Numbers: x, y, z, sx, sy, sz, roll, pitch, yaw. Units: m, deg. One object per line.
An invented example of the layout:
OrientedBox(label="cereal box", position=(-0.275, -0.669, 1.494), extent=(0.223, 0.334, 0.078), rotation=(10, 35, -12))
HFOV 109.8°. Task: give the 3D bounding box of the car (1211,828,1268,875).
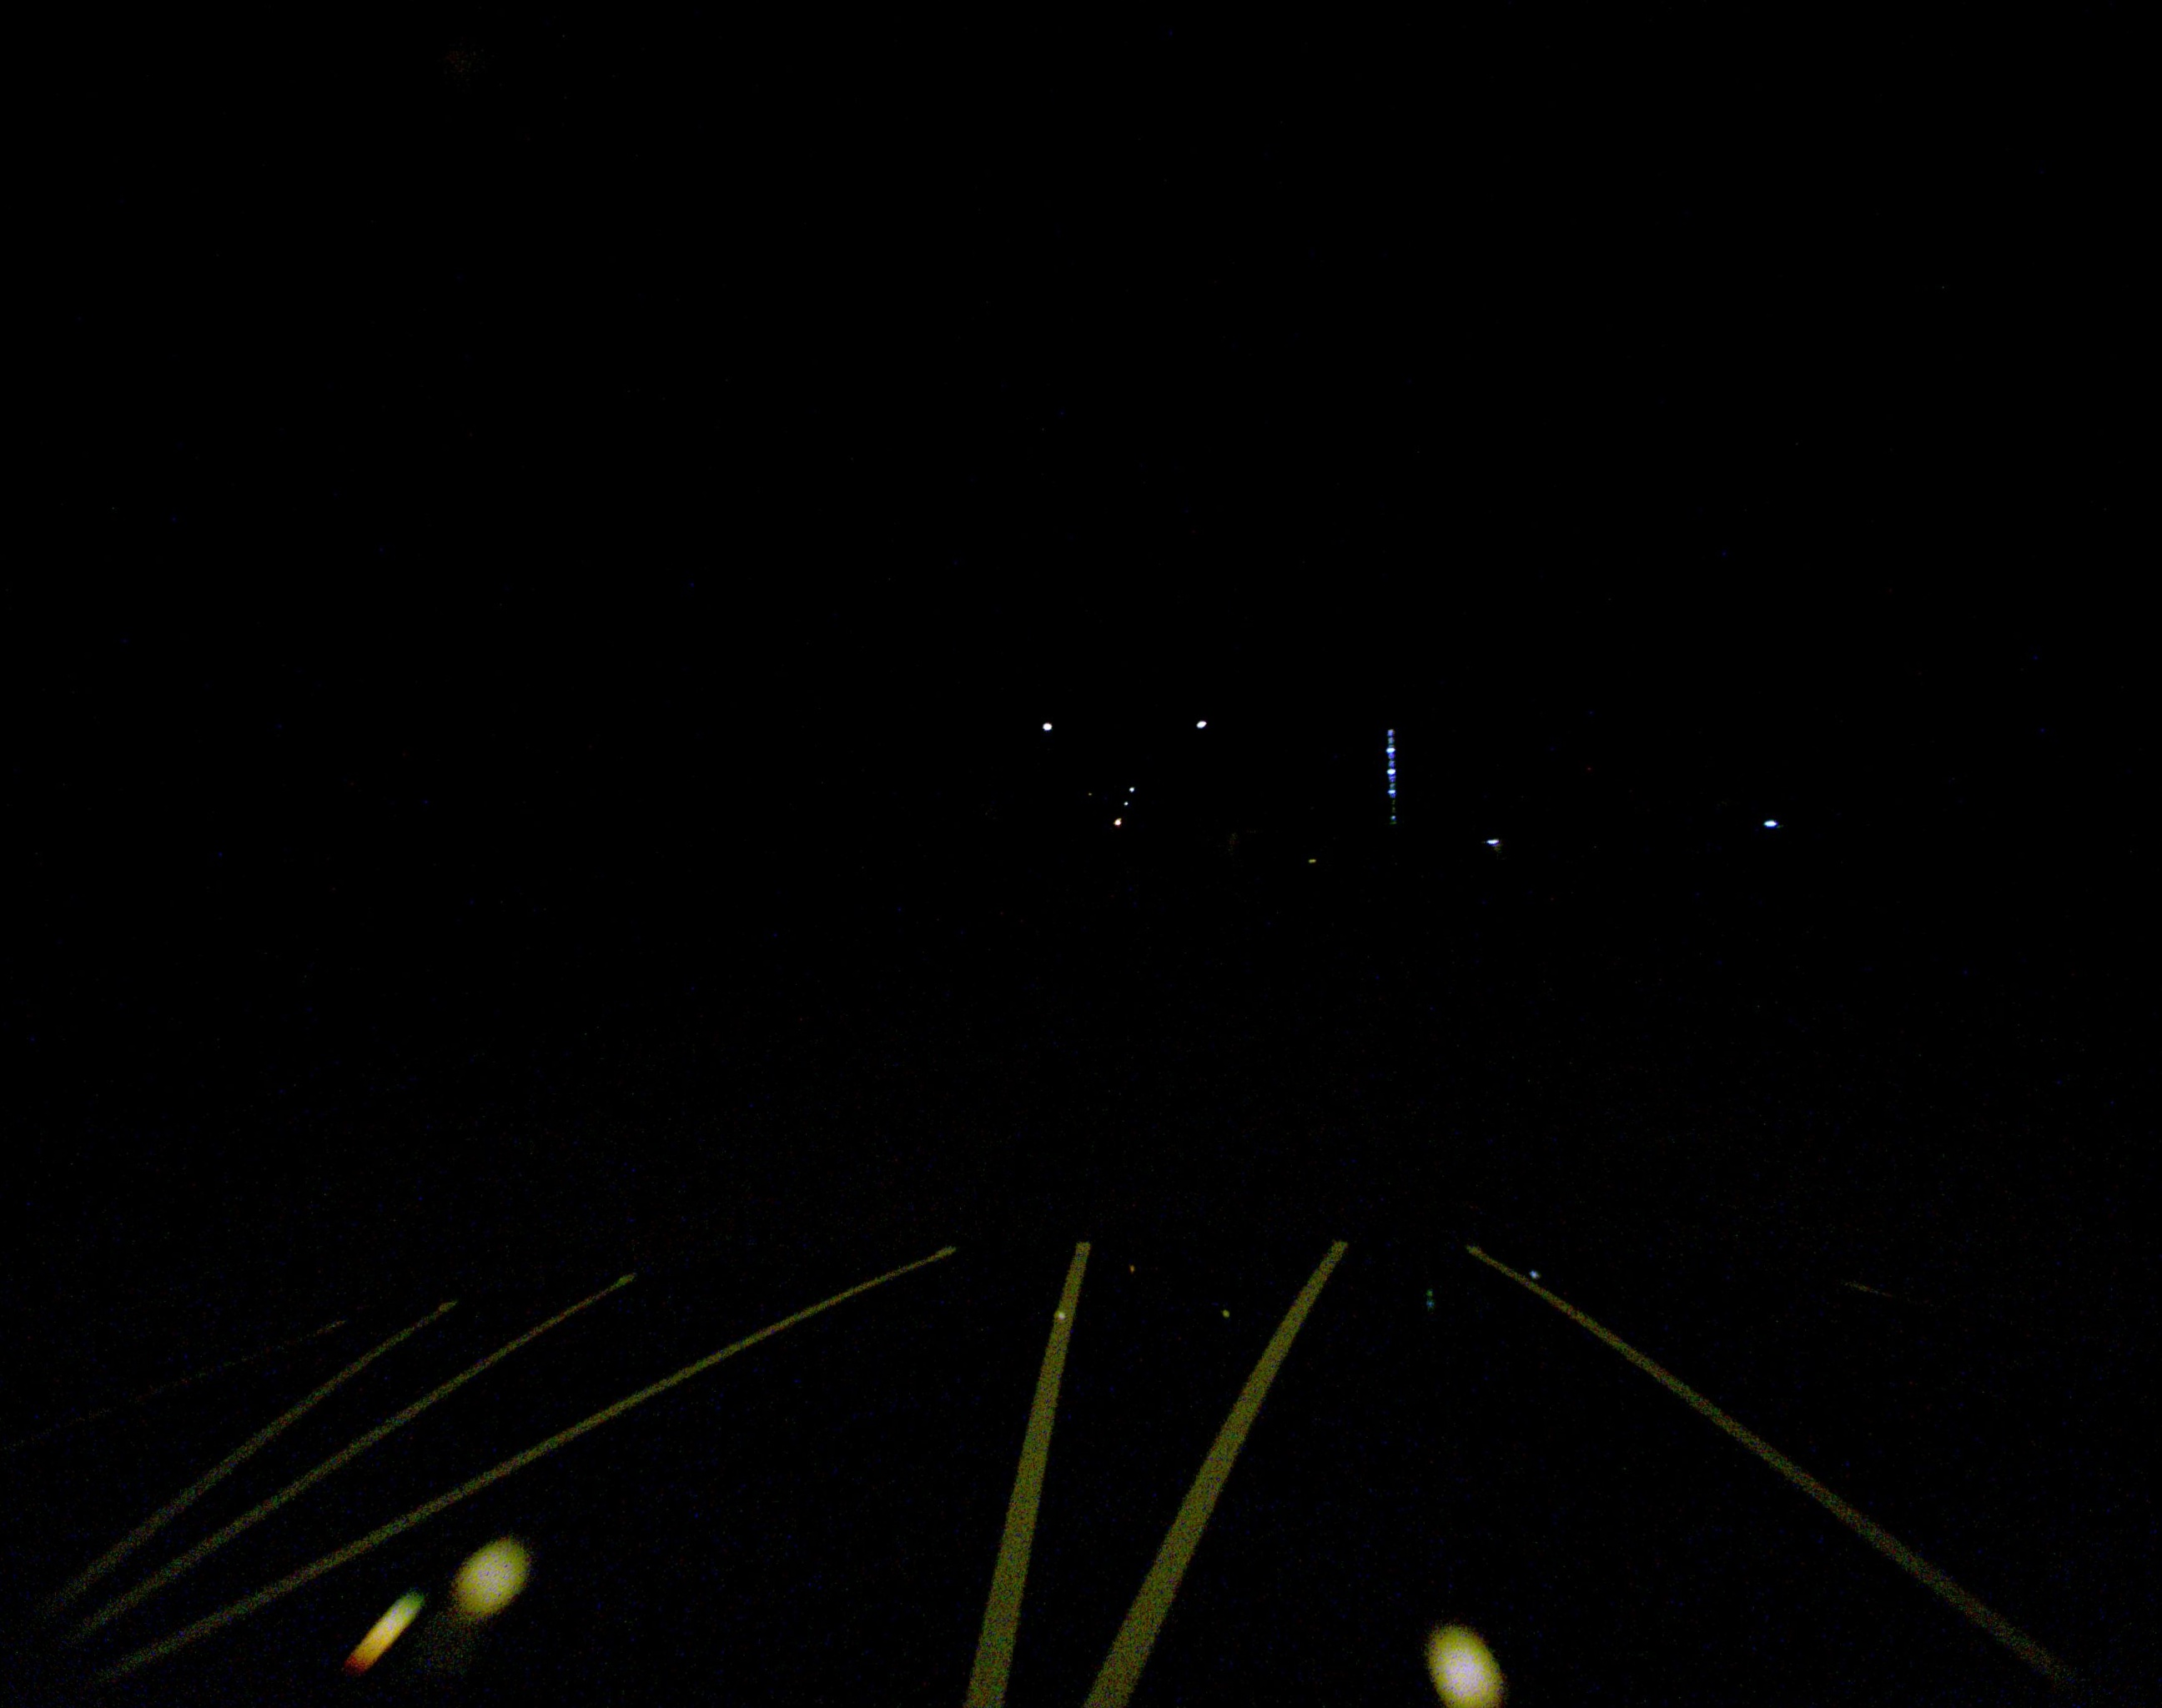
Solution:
OrientedBox(label="car", position=(9.049, -0.144, 43.843), extent=(1.998, 2.429, 5.744), rotation=(-3, 1, 0))

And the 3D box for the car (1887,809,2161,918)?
OrientedBox(label="car", position=(17.257, 0.124, 13.458), extent=(3.997, 1.455, 1.806), rotation=(-6, 1, -1))

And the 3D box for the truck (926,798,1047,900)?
OrientedBox(label="truck", position=(-3.939, -0.288, 35.693), extent=(2.514, 3.815, 12.662), rotation=(-3, 1, 7))

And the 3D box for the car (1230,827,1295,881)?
OrientedBox(label="car", position=(8.547, -0.012, 36.114), extent=(2.145, 2.299, 4.468), rotation=(-3, 1, 3))

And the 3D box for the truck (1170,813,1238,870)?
OrientedBox(label="truck", position=(8.705, -0.868, 55.218), extent=(2.829, 3.611, 10.398), rotation=(-3, 1, -2))

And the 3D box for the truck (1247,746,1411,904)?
OrientedBox(label="truck", position=(8.150, -0.948, 27.180), extent=(2.643, 4.290, 12.824), rotation=(0, 2, 5))
